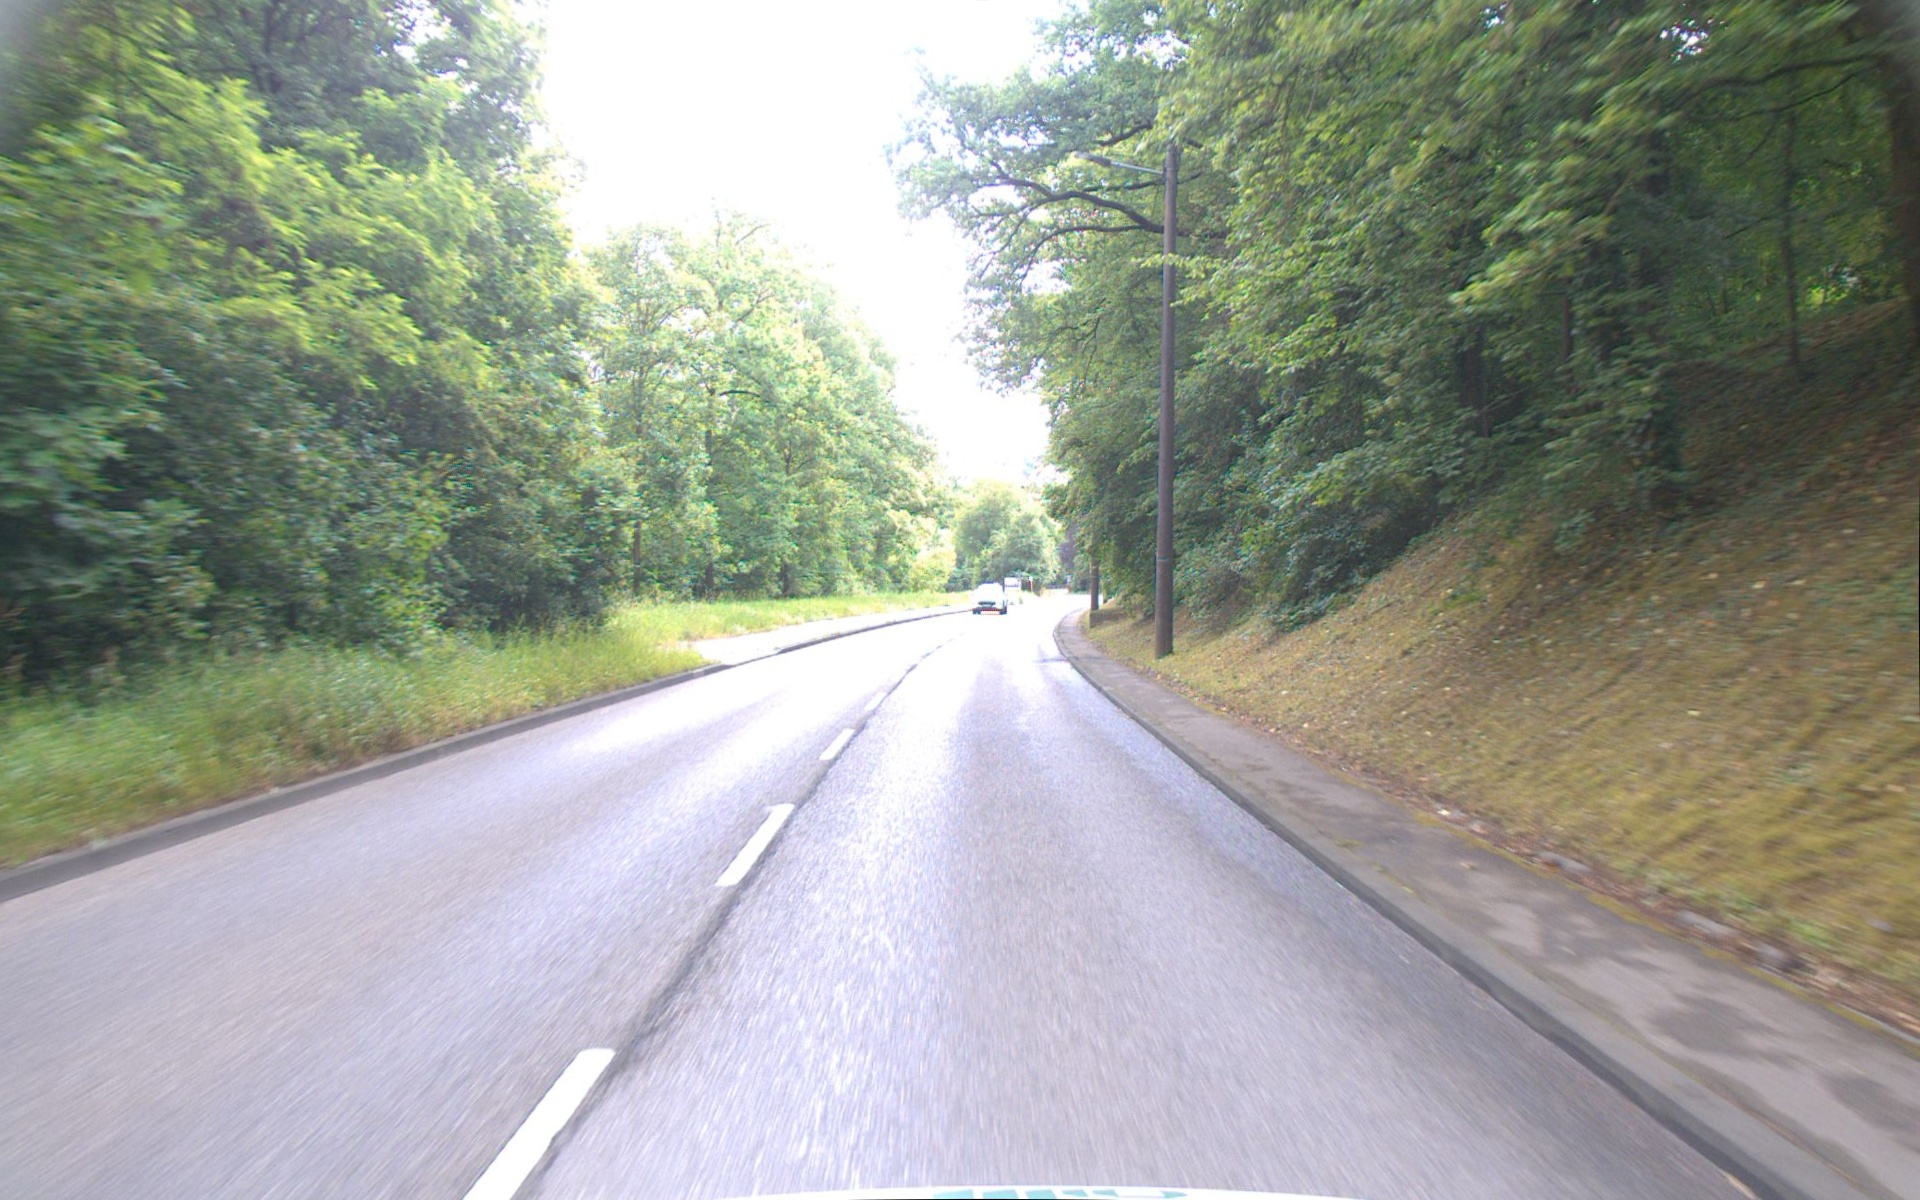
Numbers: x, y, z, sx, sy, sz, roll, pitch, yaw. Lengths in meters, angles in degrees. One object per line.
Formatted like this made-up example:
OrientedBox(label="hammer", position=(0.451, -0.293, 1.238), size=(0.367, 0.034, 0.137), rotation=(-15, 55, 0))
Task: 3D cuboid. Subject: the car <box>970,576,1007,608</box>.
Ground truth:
OrientedBox(label="car", position=(1.696, -0.445, 96.155), size=(1.952, 1.784, 4.783), rotation=(1, 0, 3))
